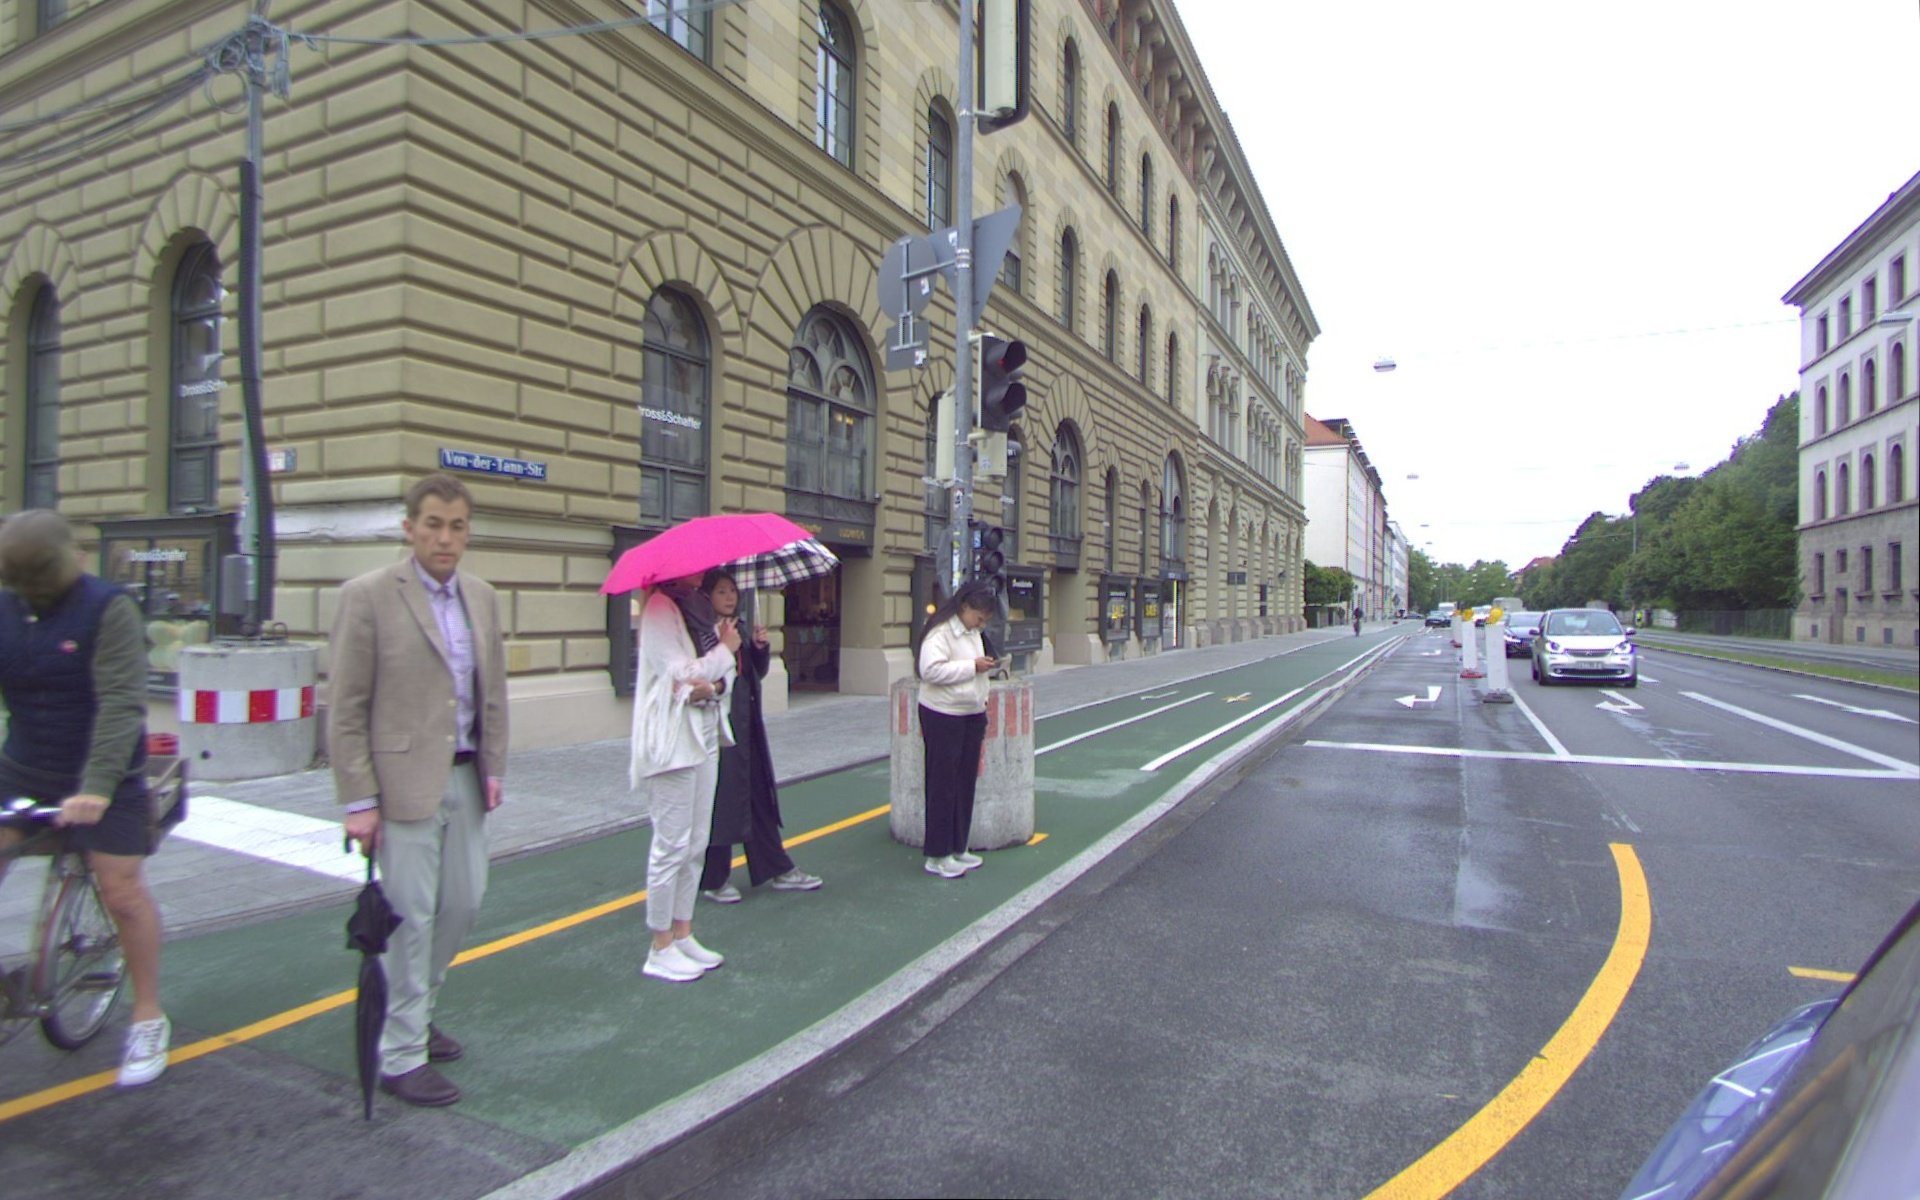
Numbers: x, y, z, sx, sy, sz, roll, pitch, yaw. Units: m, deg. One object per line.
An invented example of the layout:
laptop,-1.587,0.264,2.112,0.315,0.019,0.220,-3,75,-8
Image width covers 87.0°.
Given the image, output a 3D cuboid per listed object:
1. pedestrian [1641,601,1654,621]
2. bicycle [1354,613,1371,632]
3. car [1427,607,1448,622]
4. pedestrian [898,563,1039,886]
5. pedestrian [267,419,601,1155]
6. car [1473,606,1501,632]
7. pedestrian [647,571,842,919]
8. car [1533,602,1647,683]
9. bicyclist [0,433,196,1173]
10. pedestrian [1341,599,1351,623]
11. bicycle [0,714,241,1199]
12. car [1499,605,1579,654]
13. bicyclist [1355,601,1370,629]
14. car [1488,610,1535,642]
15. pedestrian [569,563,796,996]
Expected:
pedestrian,70.515,1.140,103.829,0.849,2.039,0.759,0,-1,-15
bicycle,22.662,1.253,56.978,0.744,1.045,2.508,-1,-1,26
car,43.998,1.325,93.185,1.723,1.337,3.963,0,0,26
pedestrian,0.057,0.638,5.576,0.528,1.640,0.667,-1,-1,29
pedestrian,-1.589,0.484,3.091,0.699,1.909,0.634,-1,-1,32
car,44.246,1.576,85.050,1.980,2.039,3.963,1,0,26
pedestrian,-1.071,0.665,5.093,0.698,1.587,0.675,-1,-1,29
car,13.099,0.824,21.245,1.618,1.522,3.963,0,-1,26
bicyclist,-2.681,0.515,2.912,0.556,1.877,0.801,0,-1,-21
pedestrian,30.862,0.847,80.905,0.649,1.897,0.818,2,0,26
bicycle,-2.702,0.940,2.958,0.574,1.024,1.659,0,-1,-21
car,18.620,0.916,32.718,1.904,1.459,4.267,-1,-1,26
bicyclist,22.619,0.851,56.897,0.717,1.572,0.851,-1,-1,26
car,29.460,1.352,54.182,1.980,1.577,4.348,1,0,26
pedestrian,-1.126,0.663,4.152,0.698,1.587,0.578,-1,-1,29
